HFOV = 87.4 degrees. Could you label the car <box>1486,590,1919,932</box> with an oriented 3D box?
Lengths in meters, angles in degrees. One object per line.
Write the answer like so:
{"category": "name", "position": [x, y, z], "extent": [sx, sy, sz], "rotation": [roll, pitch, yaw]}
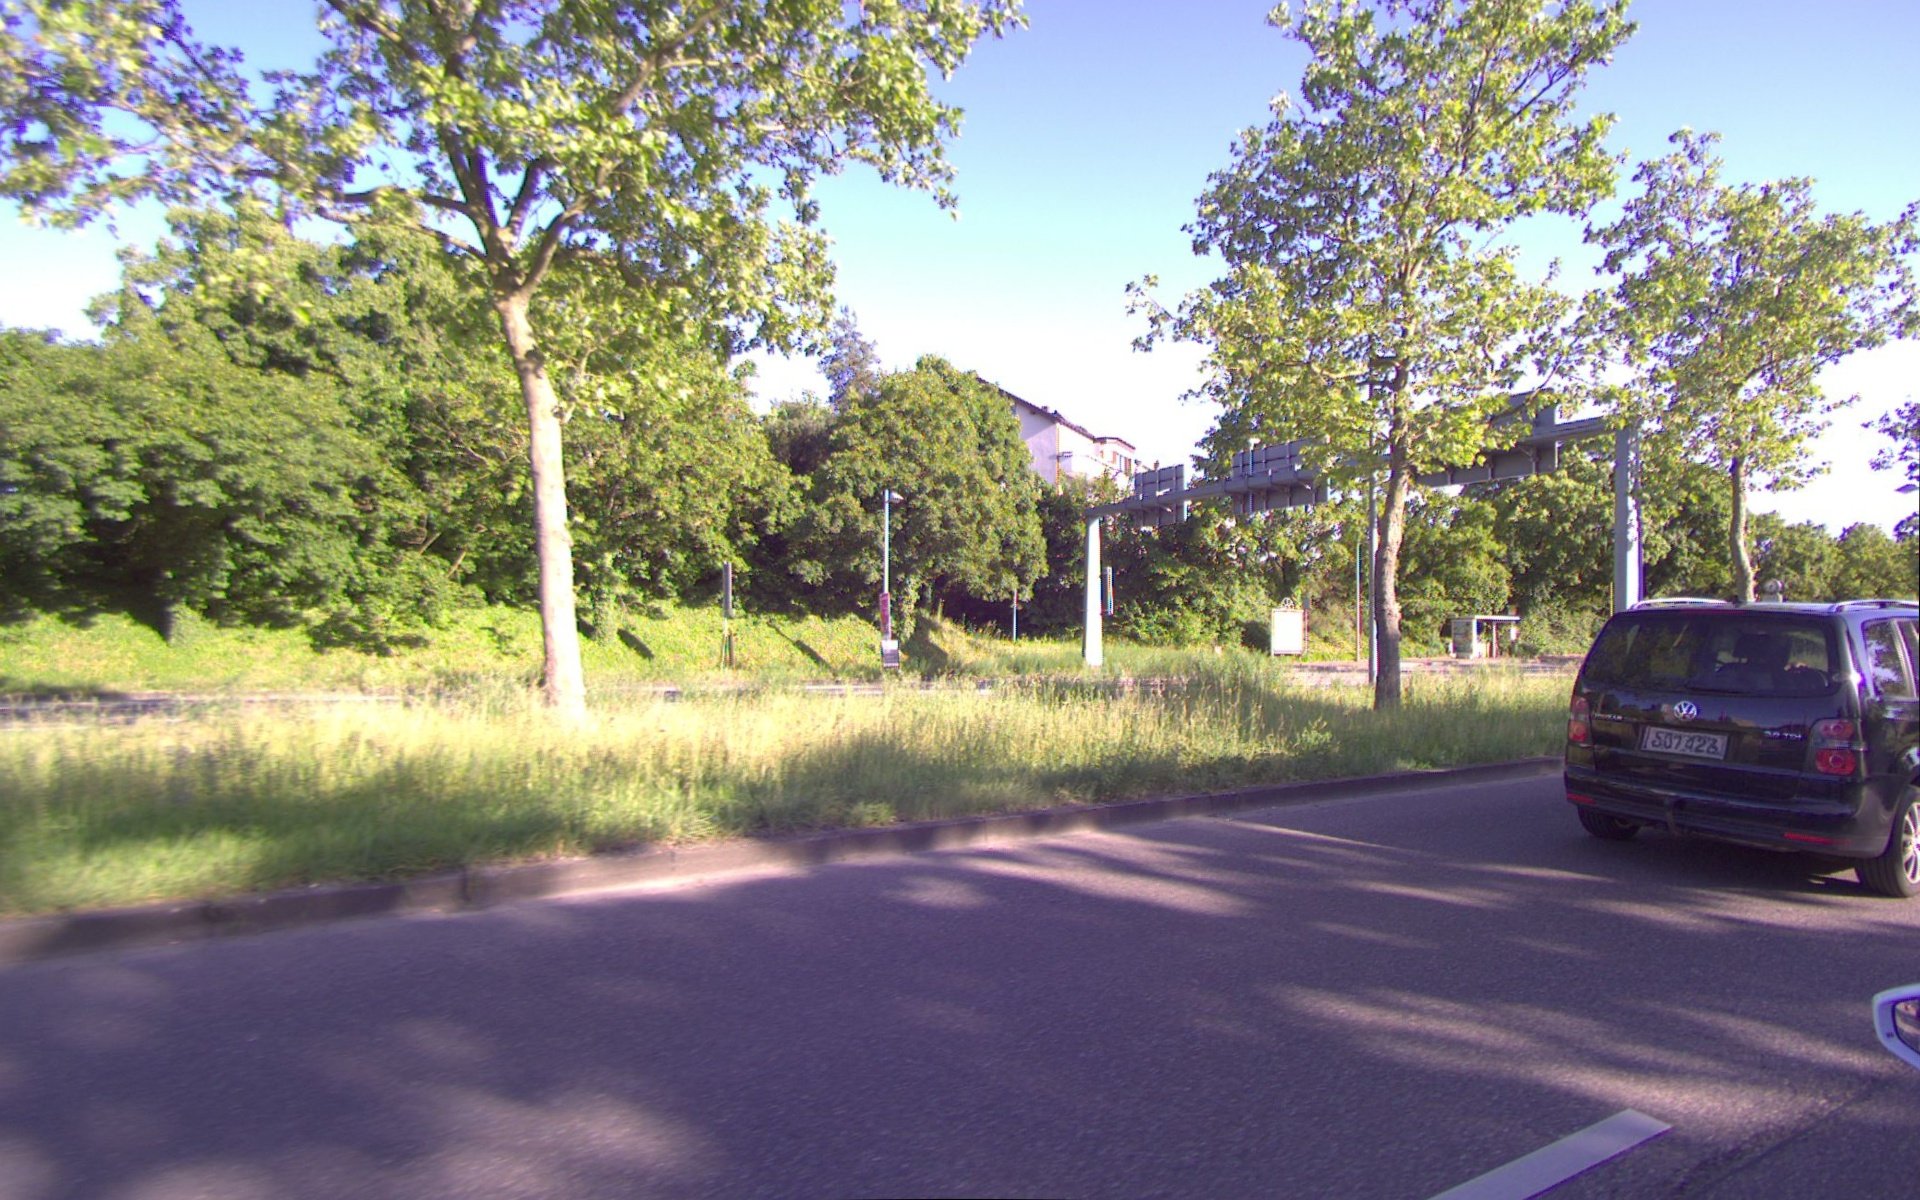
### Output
{"category": "car", "position": [5.908, 0.840, 6.888], "extent": [4.865, 1.666, 1.759], "rotation": [2, -1, -30]}
